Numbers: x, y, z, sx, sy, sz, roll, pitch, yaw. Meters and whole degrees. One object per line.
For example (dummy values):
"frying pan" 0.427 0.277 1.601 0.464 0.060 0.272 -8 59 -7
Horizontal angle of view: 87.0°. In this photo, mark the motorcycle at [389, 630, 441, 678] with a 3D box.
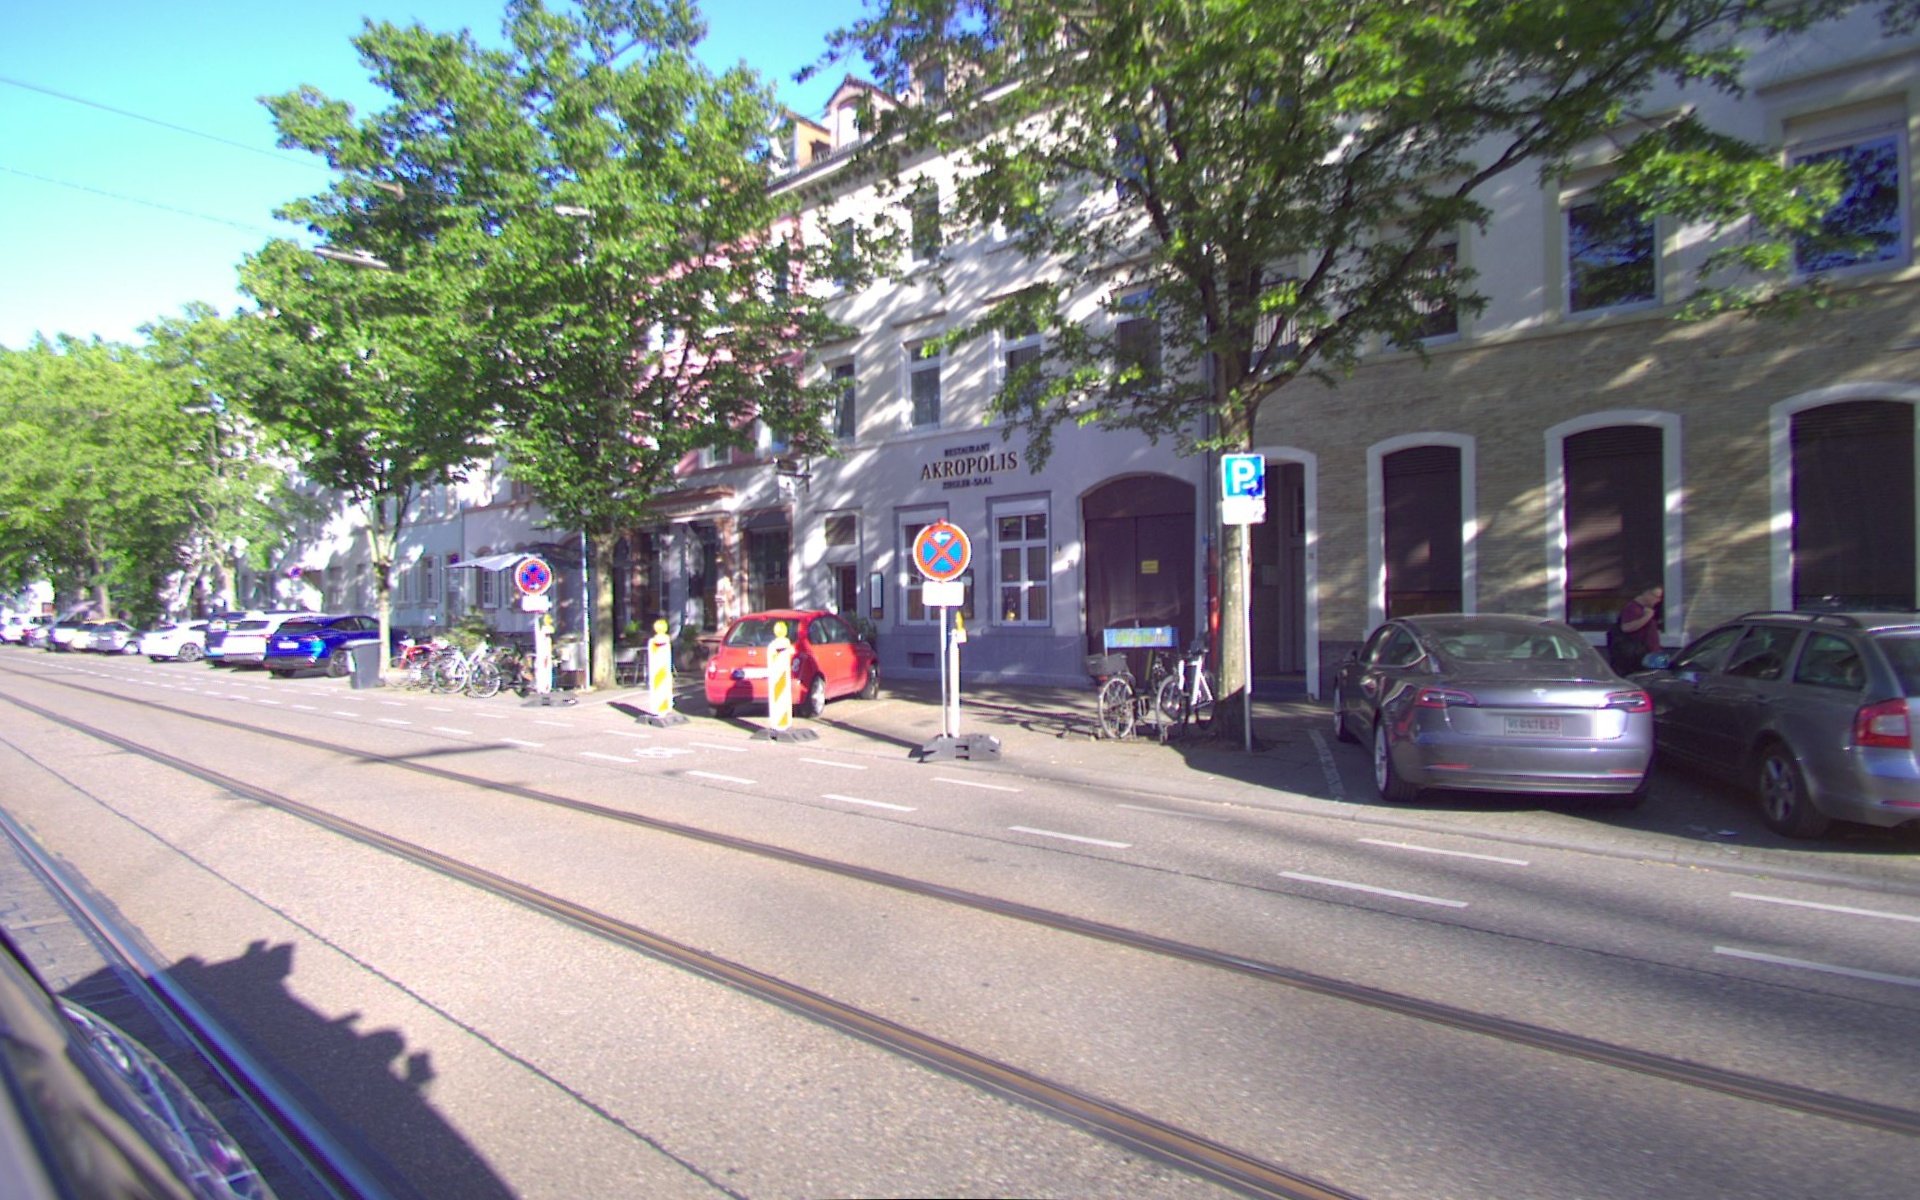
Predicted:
"motorcycle" -14.946 1.463 27.828 0.714 1.263 2.607 1 -2 -17

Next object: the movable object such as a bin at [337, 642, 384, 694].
"movable object such as a bin" -13.238 1.493 22.349 0.710 1.086 0.676 -2 1 42

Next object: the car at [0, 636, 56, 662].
"car" -64.266 3.330 68.769 1.762 1.570 3.986 -1 0 11

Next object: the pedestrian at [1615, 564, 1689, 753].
"pedestrian" 7.760 0.636 11.345 0.556 2.029 0.723 -2 -2 42

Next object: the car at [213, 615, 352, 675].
"car" -22.181 1.458 33.277 1.722 1.857 3.418 -1 -2 23

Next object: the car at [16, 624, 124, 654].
"car" -53.947 2.355 61.432 1.951 1.588 4.652 -2 -1 36

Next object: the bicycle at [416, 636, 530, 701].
"bicycle" -9.965 1.370 20.749 0.567 1.095 1.981 -2 2 43

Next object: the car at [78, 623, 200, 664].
"car" -36.681 1.929 45.322 1.690 1.689 3.972 -1 -1 21

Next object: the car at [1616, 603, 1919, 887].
"car" 6.397 0.796 7.139 1.735 1.481 3.670 -1 0 12

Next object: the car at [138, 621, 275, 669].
"car" -27.938 1.618 37.640 1.873 1.541 3.622 -1 1 21

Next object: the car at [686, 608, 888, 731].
"car" -2.492 0.968 15.434 1.653 1.565 3.608 -3 0 15

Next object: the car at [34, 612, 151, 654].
"car" -45.696 1.706 53.365 2.161 2.134 4.393 -2 -2 39

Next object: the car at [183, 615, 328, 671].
"car" -24.535 1.461 35.434 1.792 1.669 3.984 -2 0 13

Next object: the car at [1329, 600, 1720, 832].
"car" 4.528 0.780 8.915 1.925 1.502 4.184 -1 0 14

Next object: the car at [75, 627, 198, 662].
"car" -38.484 2.071 47.410 1.693 1.564 4.136 -1 -2 25

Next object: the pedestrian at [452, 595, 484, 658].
"pedestrian" -14.670 0.797 30.172 0.624 1.852 0.636 -2 -3 42

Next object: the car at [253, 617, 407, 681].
"car" -17.023 1.298 27.567 1.553 1.621 3.897 0 -1 4

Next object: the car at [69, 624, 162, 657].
"car" -41.031 1.935 49.252 1.369 1.565 3.364 0 -2 10

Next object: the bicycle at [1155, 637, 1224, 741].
"bicycle" 2.611 0.978 11.619 0.328 1.104 1.595 0 -2 -4

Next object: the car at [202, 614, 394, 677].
"car" -20.440 1.362 31.550 2.186 1.808 4.921 -1 -1 12

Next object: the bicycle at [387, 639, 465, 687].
"bicycle" -12.096 1.416 22.977 0.387 0.995 1.588 -2 0 30

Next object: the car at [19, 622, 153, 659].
"car" -43.895 2.014 50.909 2.161 1.737 4.781 -1 -2 39

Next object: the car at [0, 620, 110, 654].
"car" -57.288 2.337 64.177 2.056 2.029 4.915 -1 -2 16

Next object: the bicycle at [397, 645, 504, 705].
"bicycle" -10.897 1.579 21.692 0.568 1.087 1.946 -2 1 43

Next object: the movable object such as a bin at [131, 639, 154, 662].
"movable object such as a bin" -34.516 2.132 42.731 0.669 0.952 0.615 -1 -4 40
